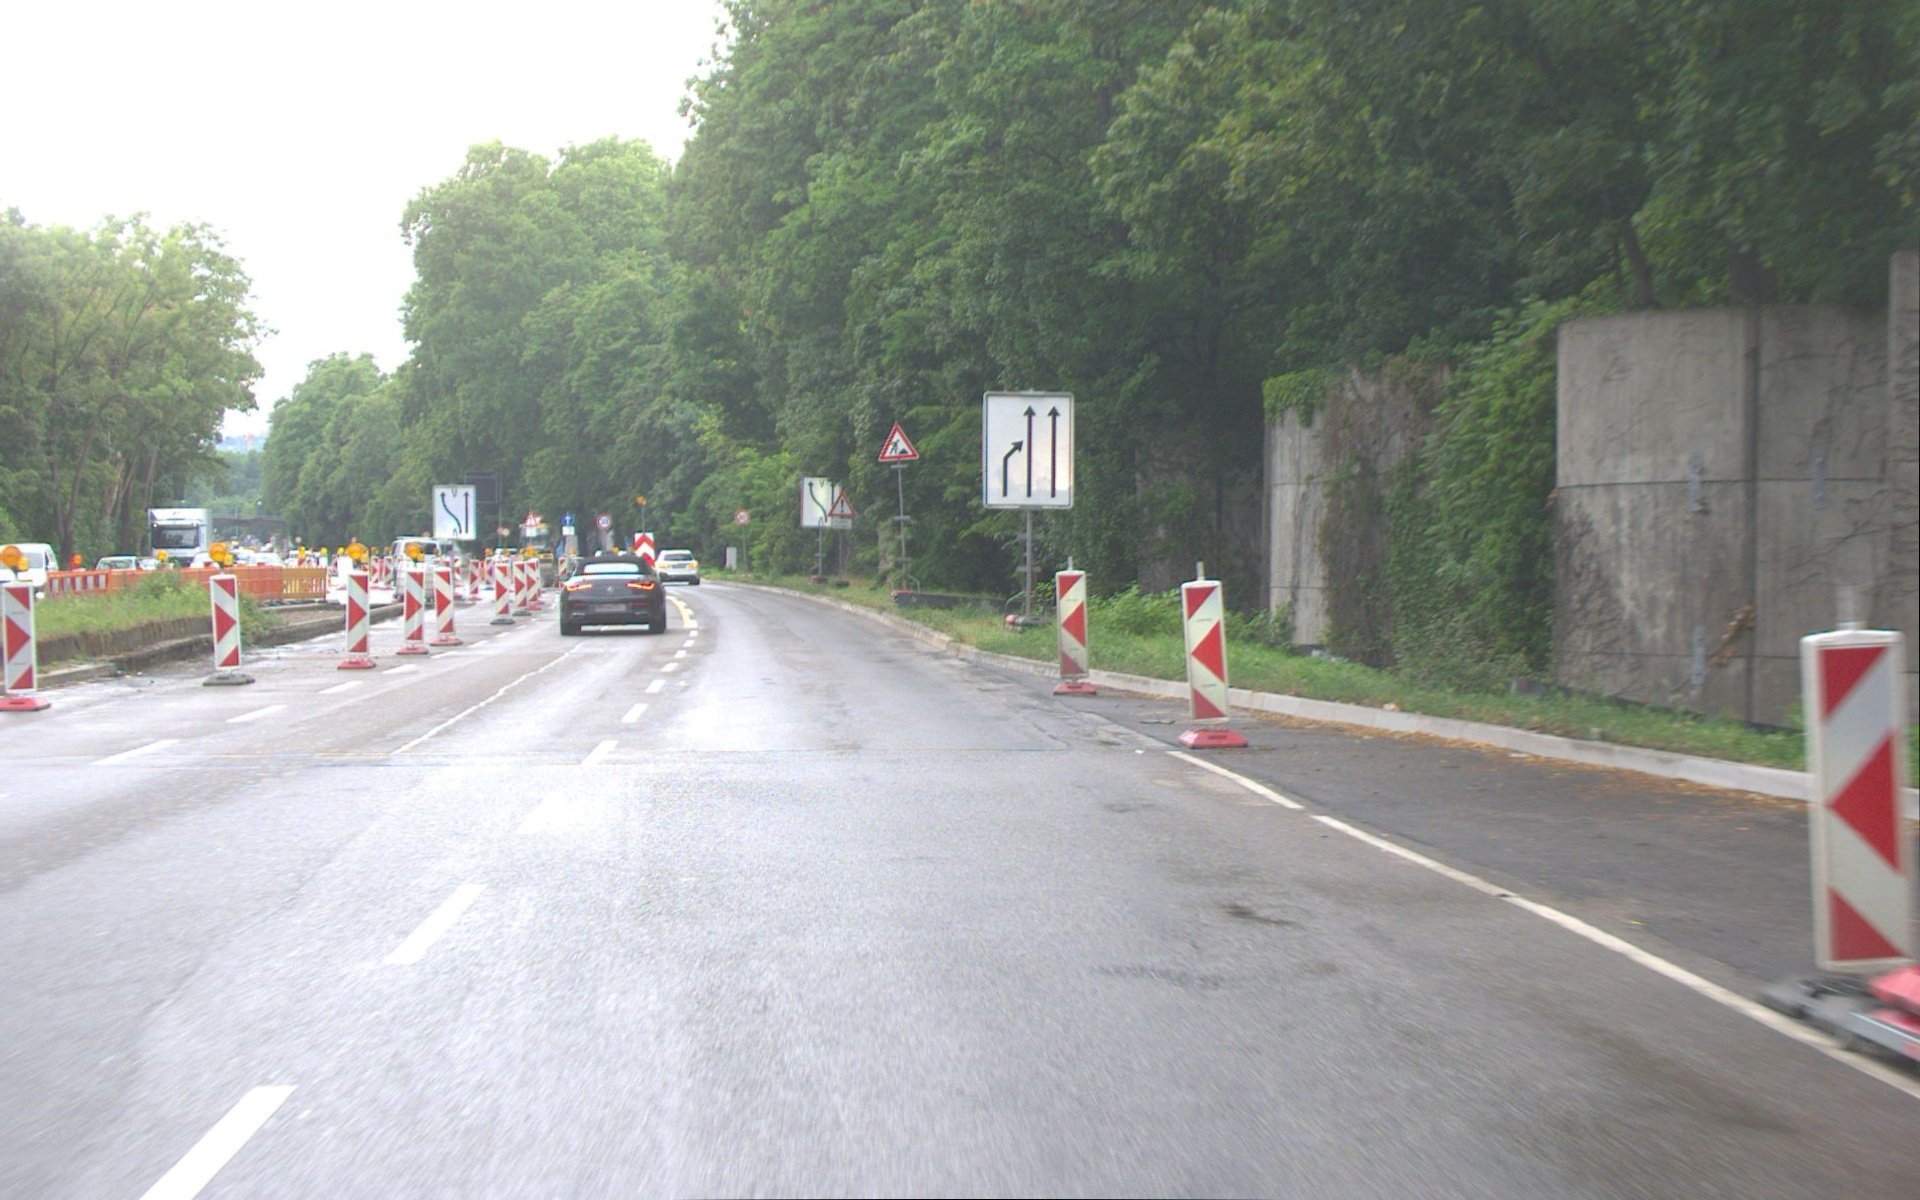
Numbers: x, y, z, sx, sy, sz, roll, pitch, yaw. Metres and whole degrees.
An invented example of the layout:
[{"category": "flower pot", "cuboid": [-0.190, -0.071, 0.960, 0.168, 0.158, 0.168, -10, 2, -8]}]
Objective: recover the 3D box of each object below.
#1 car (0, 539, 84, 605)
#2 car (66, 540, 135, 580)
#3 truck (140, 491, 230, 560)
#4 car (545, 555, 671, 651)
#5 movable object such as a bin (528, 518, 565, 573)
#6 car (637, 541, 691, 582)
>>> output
[{"category": "car", "cuboid": [-26.264, -0.819, 97.614, 1.914, 1.775, 4.835, 0, 2, -5]}, {"category": "car", "cuboid": [-31.543, -1.464, 126.261, 1.790, 1.420, 3.897, -1, 1, -4]}, {"category": "truck", "cuboid": [-36.029, -3.447, 160.187, 2.795, 3.137, 10.150, 0, 1, -5]}, {"category": "car", "cuboid": [-6.371, 0.032, 62.617, 1.862, 1.486, 4.001, 1, 3, 0]}, {"category": "movable object such as a bin", "cuboid": [-22.070, -2.913, 183.425, 1.746, 2.857, 3.535, -1, 1, -10]}, {"category": "car", "cuboid": [-12.253, -1.615, 142.190, 1.913, 1.592, 4.835, 0, 2, -9]}]
